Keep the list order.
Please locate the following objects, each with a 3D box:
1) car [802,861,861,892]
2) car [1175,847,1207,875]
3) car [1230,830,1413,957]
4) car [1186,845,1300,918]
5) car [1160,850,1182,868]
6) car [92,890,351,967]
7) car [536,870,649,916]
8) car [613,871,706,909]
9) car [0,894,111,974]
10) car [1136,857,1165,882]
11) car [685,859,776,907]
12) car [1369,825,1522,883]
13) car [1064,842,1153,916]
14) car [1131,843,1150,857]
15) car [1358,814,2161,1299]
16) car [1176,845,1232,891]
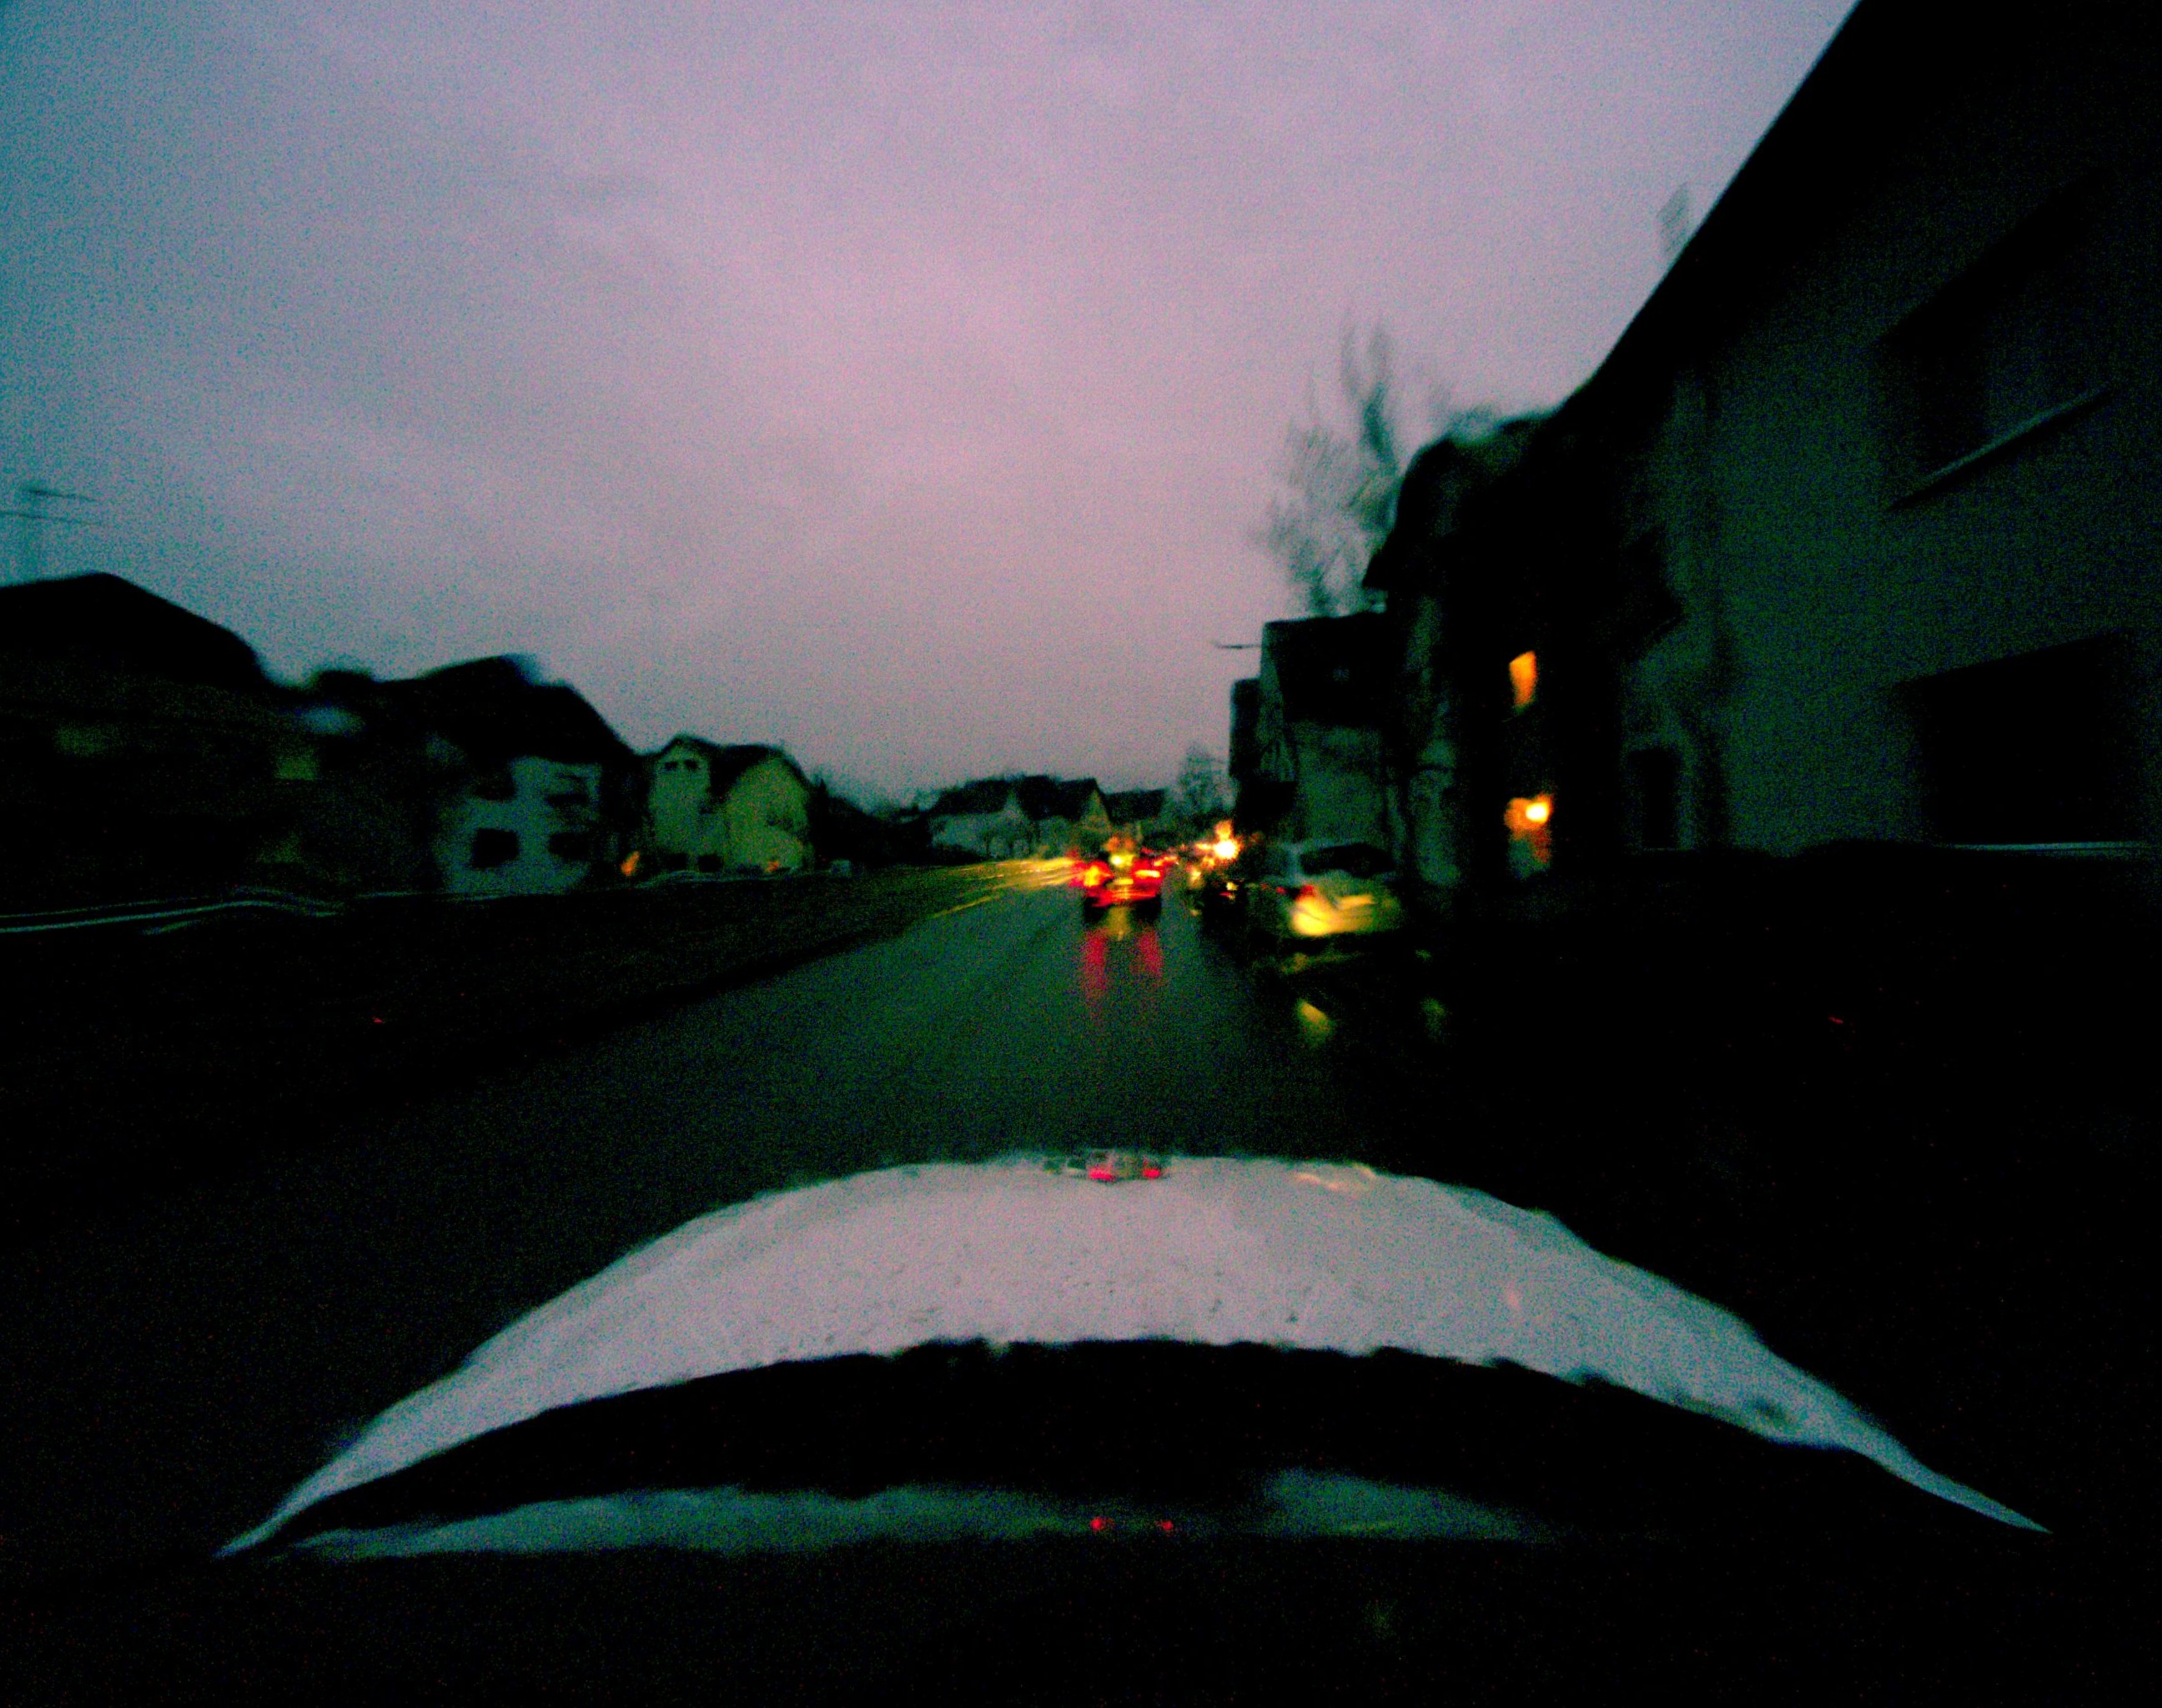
[{"bbox_3d":[-16.849,1.486,55.245,1.863,1.778,4.513,-4,1,9],"label":"car"},{"bbox_3d":[6.274,0.374,46.446,1.636,1.415,2.733,-5,0,7],"label":"car"},{"bbox_3d":[3.541,0.516,12.866,1.658,1.575,4.499,-3,0,2],"label":"car"},{"bbox_3d":[3.755,0.576,19.733,1.949,1.532,5.012,0,0,2],"label":"car"},{"bbox_3d":[7.781,0.408,70.157,1.805,1.412,4.008,-2,1,7],"label":"car"},{"bbox_3d":[-21.415,1.790,20.584,1.866,1.505,4.153,-2,0,8],"label":"car"},{"bbox_3d":[-19.943,1.539,33.475,1.848,1.681,4.009,0,0,8],"label":"car"},{"bbox_3d":[-19.601,1.638,38.061,1.759,1.523,4.041,-3,0,8],"label":"car"},{"bbox_3d":[-21.847,1.616,15.066,1.866,1.442,4.660,-2,0,9],"label":"car"},{"bbox_3d":[4.290,0.915,50.091,1.674,1.453,4.006,-2,0,5],"label":"car"},{"bbox_3d":[-14.528,1.152,33.999,1.791,1.803,3.865,-3,0,4],"label":"car"},{"bbox_3d":[11.623,0.002,26.243,4.120,1.555,1.869,-3,-1,11],"label":"car"},{"bbox_3d":[0.574,0.542,20.697,1.959,1.594,4.311,-2,1,-2],"label":"car"},{"bbox_3d":[8.371,-0.561,114.988,2.034,1.925,4.049,-3,1,-5],"label":"car"},{"bbox_3d":[3.176,0.618,4.676,1.697,1.451,4.191,-3,0,0],"label":"car"},{"bbox_3d":[4.521,0.481,30.406,1.644,1.455,4.243,-5,0,5],"label":"car"}]
